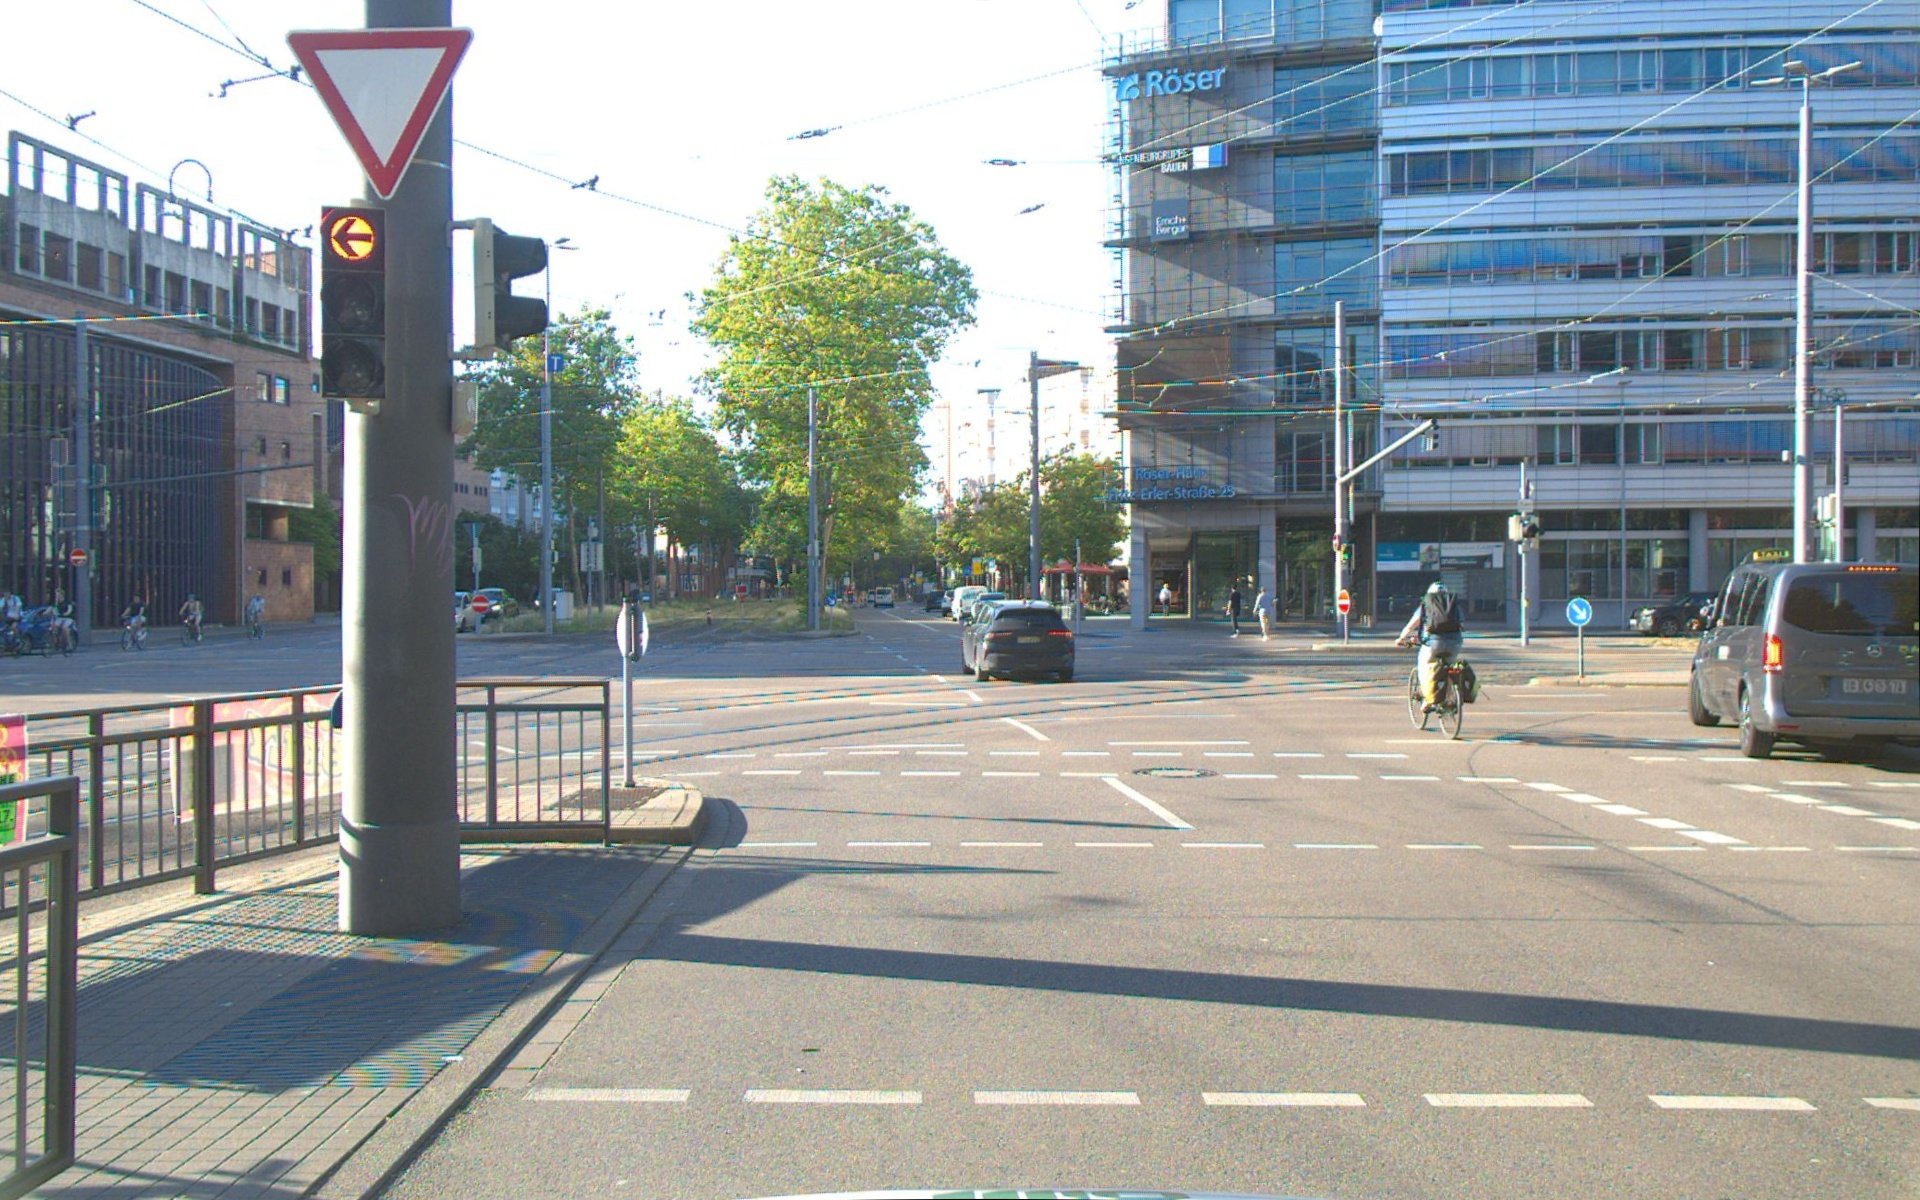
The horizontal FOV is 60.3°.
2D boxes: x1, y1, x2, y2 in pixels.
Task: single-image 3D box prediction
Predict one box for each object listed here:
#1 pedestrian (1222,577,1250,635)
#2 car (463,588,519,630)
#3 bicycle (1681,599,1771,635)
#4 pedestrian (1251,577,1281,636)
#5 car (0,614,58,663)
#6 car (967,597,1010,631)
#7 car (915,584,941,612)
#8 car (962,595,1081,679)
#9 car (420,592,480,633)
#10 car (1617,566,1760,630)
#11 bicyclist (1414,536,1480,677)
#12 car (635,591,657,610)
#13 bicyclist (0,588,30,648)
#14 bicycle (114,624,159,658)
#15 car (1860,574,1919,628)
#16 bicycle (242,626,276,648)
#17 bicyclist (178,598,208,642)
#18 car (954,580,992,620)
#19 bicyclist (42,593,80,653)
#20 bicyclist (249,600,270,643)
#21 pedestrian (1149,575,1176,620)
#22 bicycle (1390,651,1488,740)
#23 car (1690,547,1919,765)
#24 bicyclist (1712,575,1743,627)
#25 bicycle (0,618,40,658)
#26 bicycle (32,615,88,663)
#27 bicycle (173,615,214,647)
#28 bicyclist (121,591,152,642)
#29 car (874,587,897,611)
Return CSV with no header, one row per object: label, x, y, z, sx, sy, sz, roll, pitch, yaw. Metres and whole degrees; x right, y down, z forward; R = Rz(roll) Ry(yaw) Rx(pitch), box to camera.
pedestrian,9.880,0.231,59.265,0.832,2.049,0.707,1,-1,-2
car,-21.089,0.400,74.562,1.787,1.821,3.994,-1,0,-7
bicycle,23.065,0.505,49.817,2.359,1.040,0.637,-1,0,4
pedestrian,10.639,0.227,57.546,0.852,2.049,0.793,1,-1,-1
car,-29.019,1.150,50.390,1.552,1.400,3.707,-1,0,-10
car,1.416,0.676,82.801,1.988,1.624,3.999,1,0,-1
car,-2.456,-0.148,126.639,1.953,2.049,3.999,1,0,-1
car,1.077,0.637,30.798,1.729,1.429,4.292,0,0,-5
car,-20.602,0.480,66.967,1.591,1.604,3.994,-1,0,-7
car,24.412,-0.056,55.538,3.906,2.049,2.000,1,0,-1
bicyclist,5.198,0.068,17.667,0.477,1.464,0.615,1,0,-1
car,-27.674,0.023,145.854,1.644,1.635,3.994,1,0,-7
bicyclist,-25.668,0.484,44.759,0.649,1.602,0.757,-1,0,-11
bicycle,-26.221,1.300,52.681,0.680,1.016,1.898,-1,0,-8
car,29.434,0.054,49.571,3.903,1.579,1.798,1,0,4
bicycle,-26.731,1.401,63.089,0.578,0.784,1.966,-1,0,-5
bicyclist,-26.336,0.696,56.793,0.640,1.500,1.031,0,0,-6
car,0.688,0.006,89.642,1.953,2.049,3.999,1,0,-1
bicyclist,-24.634,0.614,45.331,0.669,1.587,0.757,-1,2,-11
bicyclist,-26.746,0.814,63.152,0.575,1.654,0.514,-1,0,-6
pedestrian,10.257,-0.141,83.739,1.285,2.228,1.171,1,-1,5
bicycle,5.159,1.011,17.907,0.481,0.802,1.861,1,2,-1
car,8.874,0.472,17.104,1.959,1.929,4.884,0,1,19
bicyclist,23.117,0.027,49.808,0.649,1.529,0.613,-1,0,4
bicycle,-25.692,1.025,44.942,0.641,1.016,1.896,-1,0,-11
bicycle,-24.627,1.050,45.298,0.672,1.162,2.106,-1,2,-10
bicycle,-26.325,1.058,56.826,0.639,1.068,2.010,0,0,-6
bicyclist,-26.245,0.517,52.710,0.648,1.597,0.757,-1,0,-8
car,-7.066,-0.106,156.689,1.952,2.049,3.999,1,-3,0
